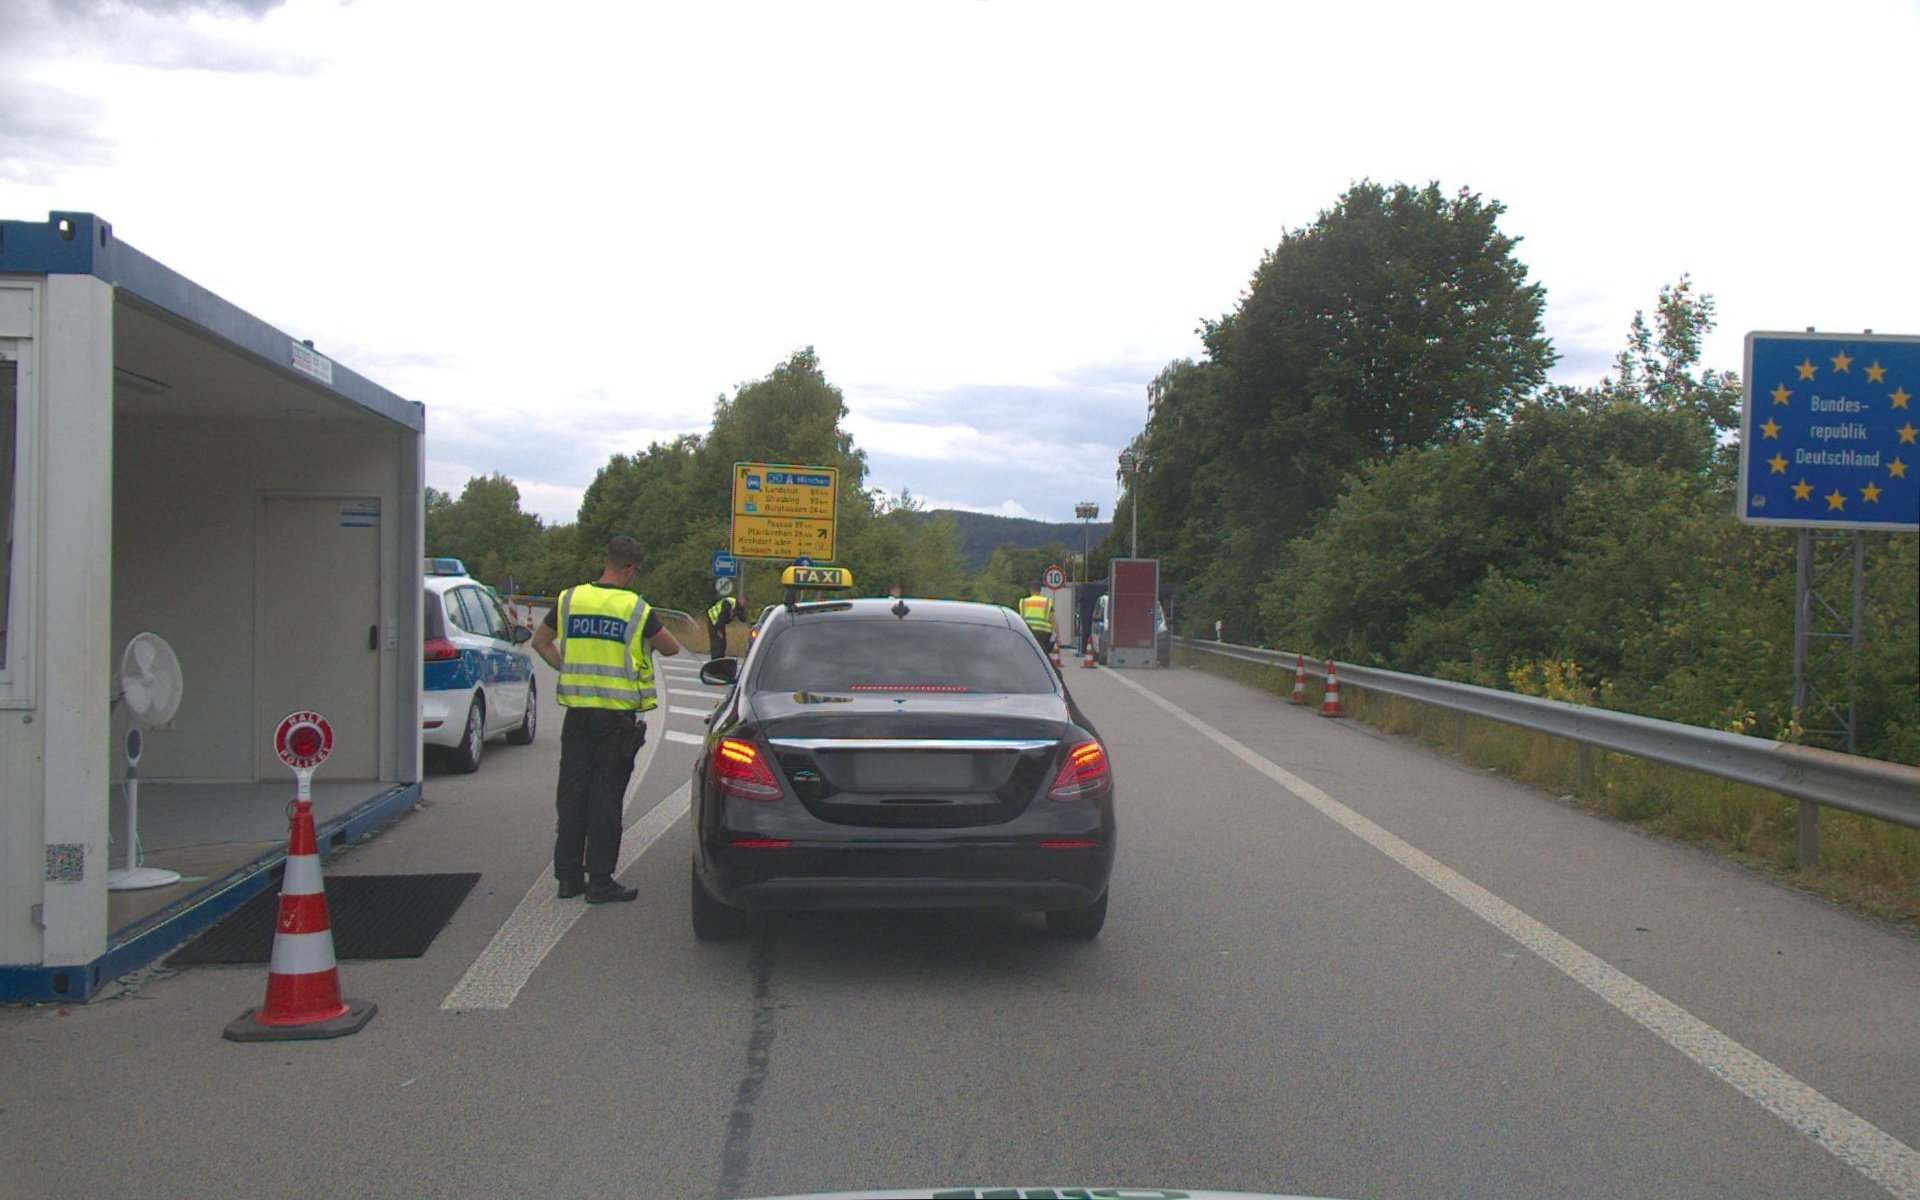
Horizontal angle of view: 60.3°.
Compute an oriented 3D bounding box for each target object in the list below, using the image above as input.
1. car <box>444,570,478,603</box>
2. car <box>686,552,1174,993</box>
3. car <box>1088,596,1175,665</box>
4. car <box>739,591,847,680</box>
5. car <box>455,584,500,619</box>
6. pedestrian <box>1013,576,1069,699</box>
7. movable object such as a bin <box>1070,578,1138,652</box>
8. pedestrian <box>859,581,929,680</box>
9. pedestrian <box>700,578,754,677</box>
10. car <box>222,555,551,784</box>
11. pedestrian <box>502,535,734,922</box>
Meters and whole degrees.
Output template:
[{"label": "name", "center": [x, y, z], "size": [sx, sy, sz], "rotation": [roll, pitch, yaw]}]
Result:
[{"label": "car", "center": [-35.389, -0.927, 117.219], "size": [1.830, 2.261, 4.227], "rotation": [1, 0, -23]}, {"label": "car", "center": [-0.299, 0.637, 8.364], "size": [1.819, 1.623, 4.370], "rotation": [1, 0, -5]}, {"label": "car", "center": [4.686, 0.794, 45.843], "size": [1.877, 1.707, 5.083], "rotation": [2, 0, 1]}, {"label": "car", "center": [-3.035, 0.607, 30.713], "size": [1.818, 1.524, 4.253], "rotation": [1, 0, -4]}, {"label": "car", "center": [-21.360, 0.056, 73.293], "size": [1.825, 1.524, 4.238], "rotation": [1, 0, -16]}, {"label": "pedestrian", "center": [1.240, 0.567, 25.335], "size": [0.796, 1.862, 0.809], "rotation": [0, 0, -1]}, {"label": "movable object such as a bin", "center": [4.714, 0.481, 54.687], "size": [1.952, 2.320, 4.168], "rotation": [1, 0, 1]}, {"label": "pedestrian", "center": [-1.184, 0.532, 29.601], "size": [0.900, 1.727, 0.903], "rotation": [1, 0, -32]}, {"label": "pedestrian", "center": [-4.321, 0.509, 30.717], "size": [0.893, 1.800, 0.911], "rotation": [1, 0, -4]}, {"label": "car", "center": [-4.974, 0.544, 14.933], "size": [1.832, 1.774, 4.004], "rotation": [1, 0, -5]}, {"label": "pedestrian", "center": [-1.652, 0.579, 8.031], "size": [0.747, 1.748, 0.815], "rotation": [0, 0, 36]}]
